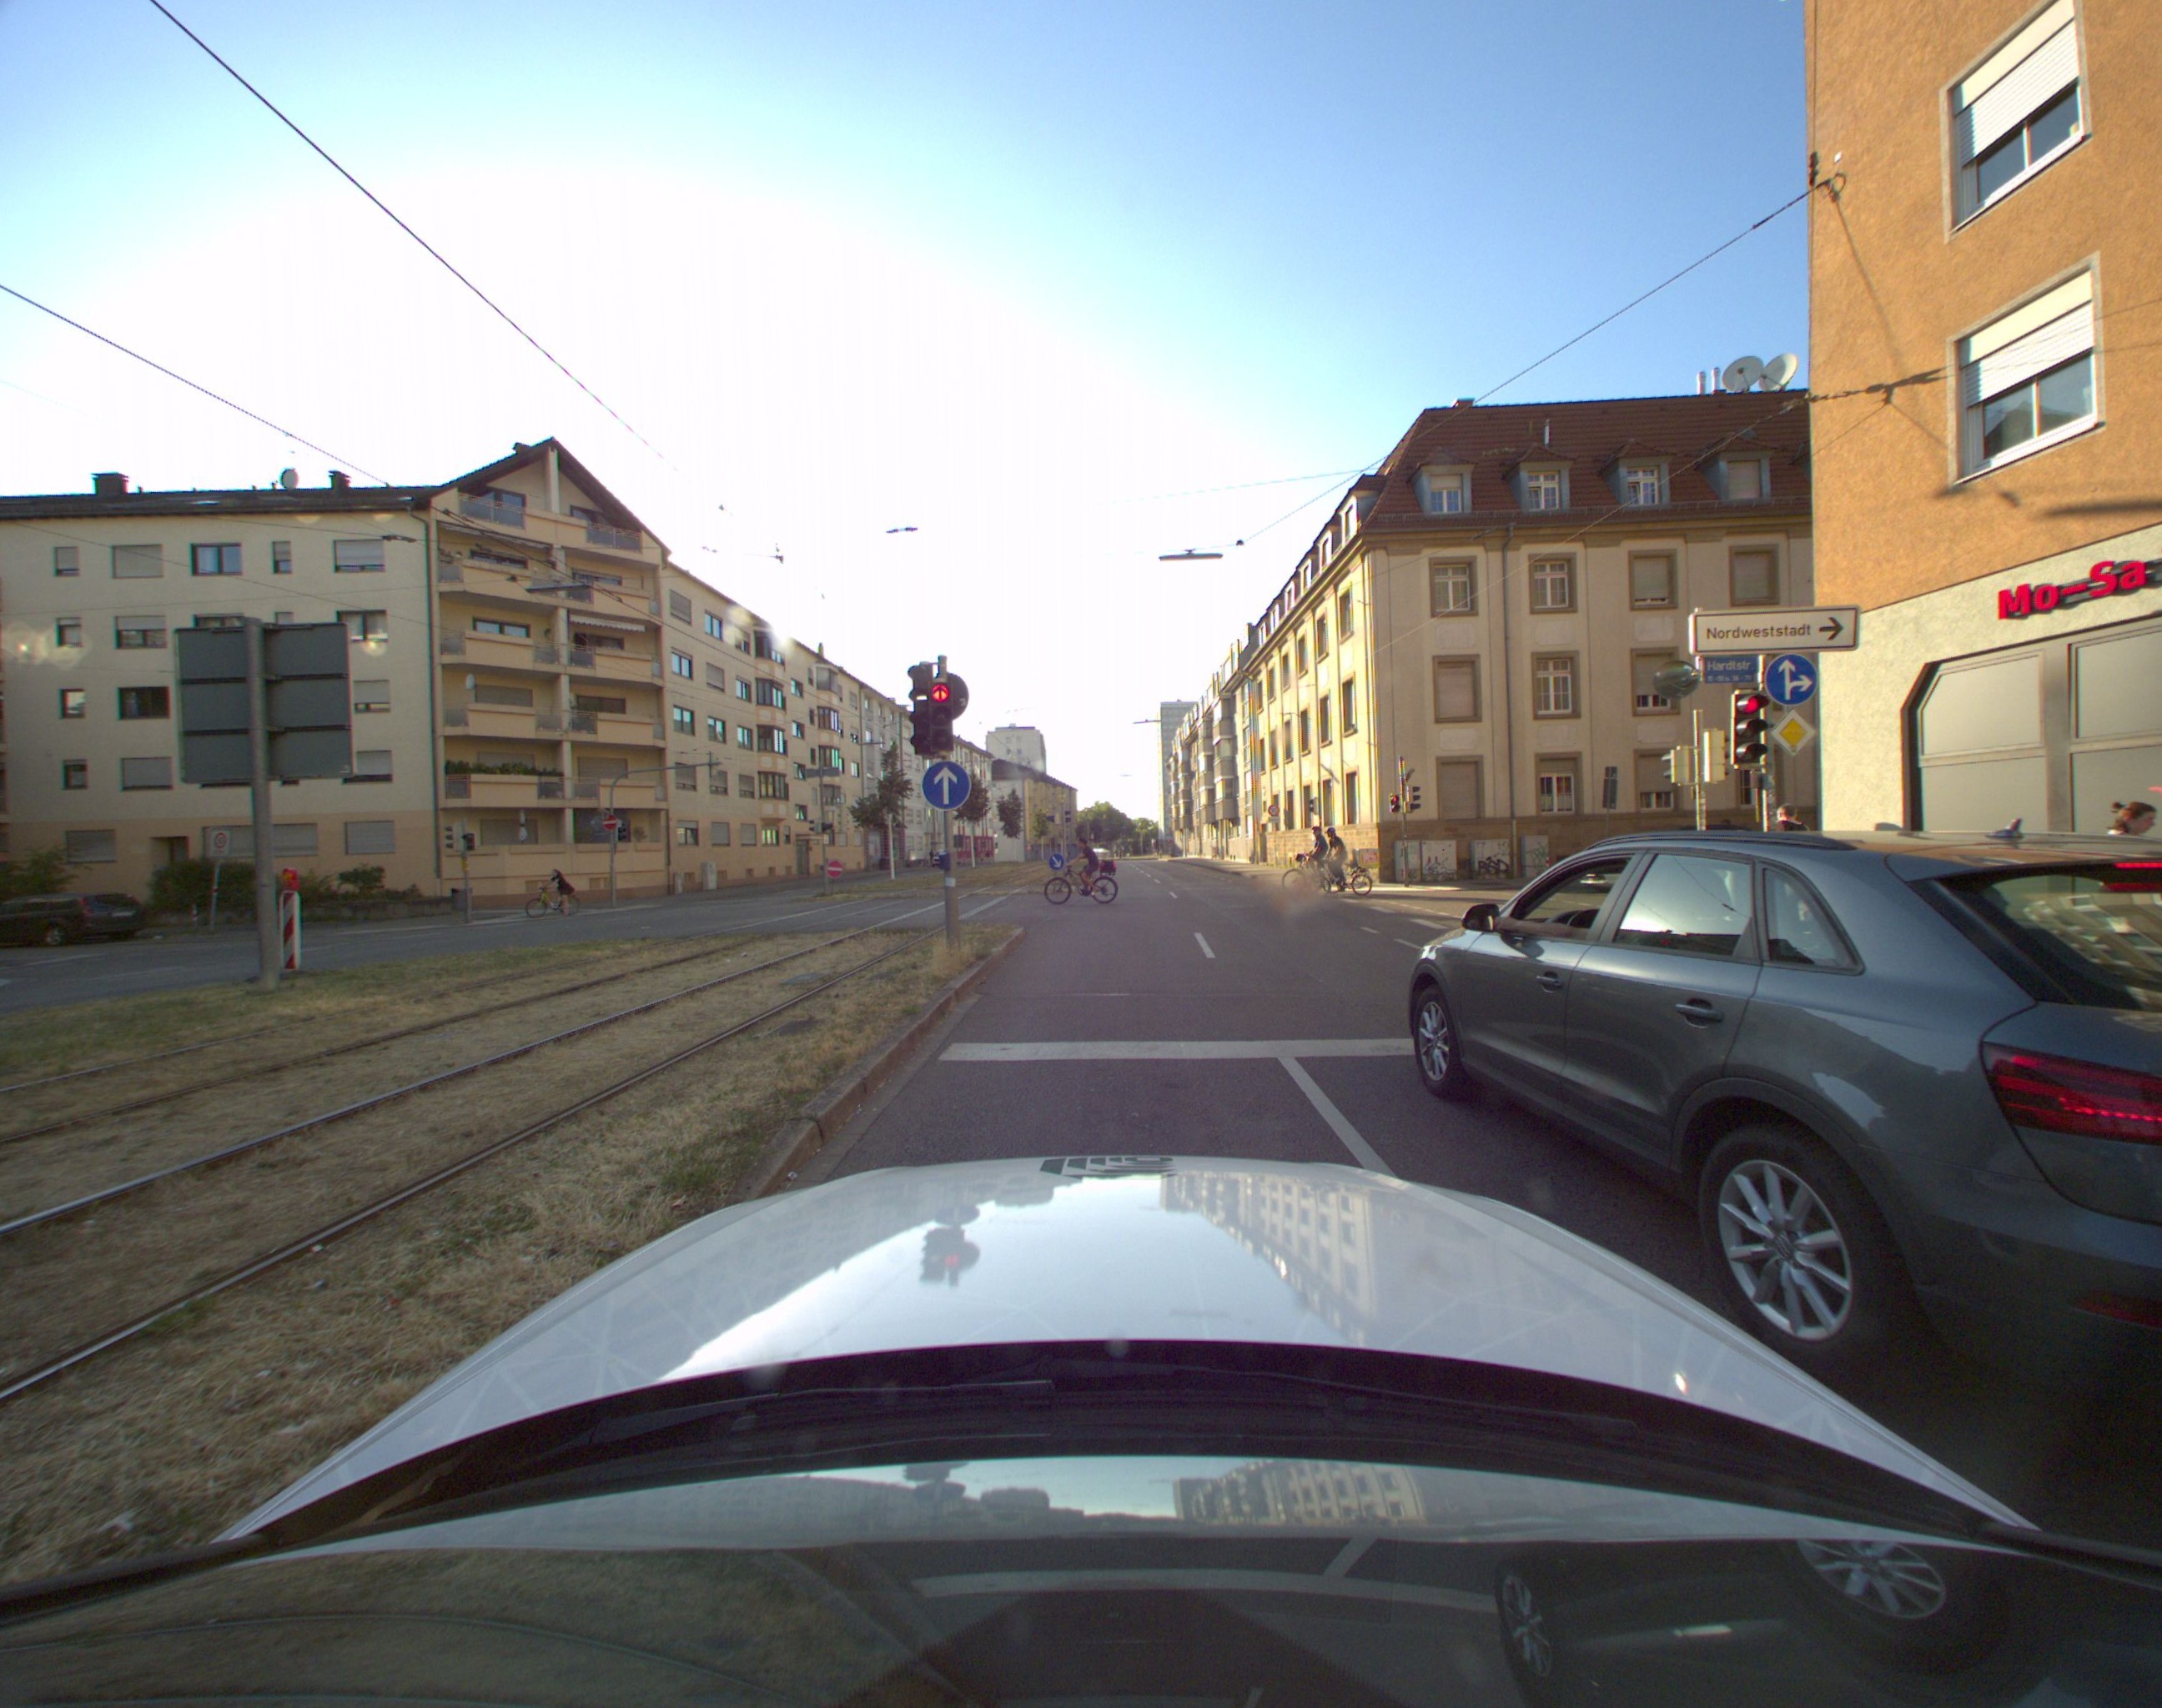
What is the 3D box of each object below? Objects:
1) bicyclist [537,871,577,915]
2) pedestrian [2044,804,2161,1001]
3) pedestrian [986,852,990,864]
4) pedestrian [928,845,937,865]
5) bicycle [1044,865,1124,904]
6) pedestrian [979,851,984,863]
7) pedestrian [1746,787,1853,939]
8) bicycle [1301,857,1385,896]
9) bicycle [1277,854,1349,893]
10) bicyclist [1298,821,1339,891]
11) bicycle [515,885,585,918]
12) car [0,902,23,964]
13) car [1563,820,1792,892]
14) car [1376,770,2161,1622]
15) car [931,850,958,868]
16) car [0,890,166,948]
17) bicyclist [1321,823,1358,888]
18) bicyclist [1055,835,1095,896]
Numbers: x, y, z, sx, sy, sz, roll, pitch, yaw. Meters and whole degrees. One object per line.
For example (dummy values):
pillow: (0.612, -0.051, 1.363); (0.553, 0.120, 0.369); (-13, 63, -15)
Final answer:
bicyclist: (-17.938, 1.321, 27.883); (0.522, 1.447, 0.971); (-2, 0, 32)
pedestrian: (8.612, 0.369, 6.664); (0.438, 1.525, 0.831); (-2, 0, 2)
pedestrian: (-12.576, 0.518, 109.935); (0.493, 1.658, 0.409); (-2, 0, 2)
pedestrian: (-15.857, 0.103, 87.057); (0.784, 2.013, 0.890); (-2, 0, -2)
bicycle: (0.058, 0.790, 21.302); (1.977, 0.894, 0.784); (-3, 0, -8)
pedestrian: (-13.447, 0.436, 109.728); (0.493, 1.658, 0.409); (-2, 0, 2)
pedestrian: (9.301, 0.110, 10.566); (0.690, 1.874, 0.718); (-2, 0, 2)
bicycle: (7.207, 0.617, 22.469); (2.066, 0.958, 0.746); (-2, 0, -1)
bicycle: (6.829, 0.561, 24.002); (1.938, 1.094, 0.575); (-1, 0, -1)
bicyclist: (6.999, 0.061, 24.040); (0.957, 1.988, 0.672); (-2, 0, -1)
bicycle: (-18.038, 1.589, 27.708); (0.522, 0.984, 1.895); (-2, 0, 32)
car: (-26.541, 1.874, 17.757); (4.106, 1.388, 1.761); (-2, 0, -9)
car: (15.209, 0.050, 20.957); (4.402, 1.641, 2.001); (-2, 0, 1)
car: (2.869, 0.588, 3.537); (1.763, 1.575, 4.087); (-2, 0, 2)
car: (-14.116, 0.505, 84.304); (1.804, 1.797, 4.249); (0, 0, 3)
car: (-29.951, 1.898, 23.808); (3.956, 1.439, 1.785); (-3, 0, -9)
bicyclist: (7.147, 0.045, 22.504); (0.791, 1.753, 0.720); (0, -1, 0)
bicyclist: (-0.160, 0.290, 21.268); (0.902, 1.526, 0.646); (-2, 0, -8)
